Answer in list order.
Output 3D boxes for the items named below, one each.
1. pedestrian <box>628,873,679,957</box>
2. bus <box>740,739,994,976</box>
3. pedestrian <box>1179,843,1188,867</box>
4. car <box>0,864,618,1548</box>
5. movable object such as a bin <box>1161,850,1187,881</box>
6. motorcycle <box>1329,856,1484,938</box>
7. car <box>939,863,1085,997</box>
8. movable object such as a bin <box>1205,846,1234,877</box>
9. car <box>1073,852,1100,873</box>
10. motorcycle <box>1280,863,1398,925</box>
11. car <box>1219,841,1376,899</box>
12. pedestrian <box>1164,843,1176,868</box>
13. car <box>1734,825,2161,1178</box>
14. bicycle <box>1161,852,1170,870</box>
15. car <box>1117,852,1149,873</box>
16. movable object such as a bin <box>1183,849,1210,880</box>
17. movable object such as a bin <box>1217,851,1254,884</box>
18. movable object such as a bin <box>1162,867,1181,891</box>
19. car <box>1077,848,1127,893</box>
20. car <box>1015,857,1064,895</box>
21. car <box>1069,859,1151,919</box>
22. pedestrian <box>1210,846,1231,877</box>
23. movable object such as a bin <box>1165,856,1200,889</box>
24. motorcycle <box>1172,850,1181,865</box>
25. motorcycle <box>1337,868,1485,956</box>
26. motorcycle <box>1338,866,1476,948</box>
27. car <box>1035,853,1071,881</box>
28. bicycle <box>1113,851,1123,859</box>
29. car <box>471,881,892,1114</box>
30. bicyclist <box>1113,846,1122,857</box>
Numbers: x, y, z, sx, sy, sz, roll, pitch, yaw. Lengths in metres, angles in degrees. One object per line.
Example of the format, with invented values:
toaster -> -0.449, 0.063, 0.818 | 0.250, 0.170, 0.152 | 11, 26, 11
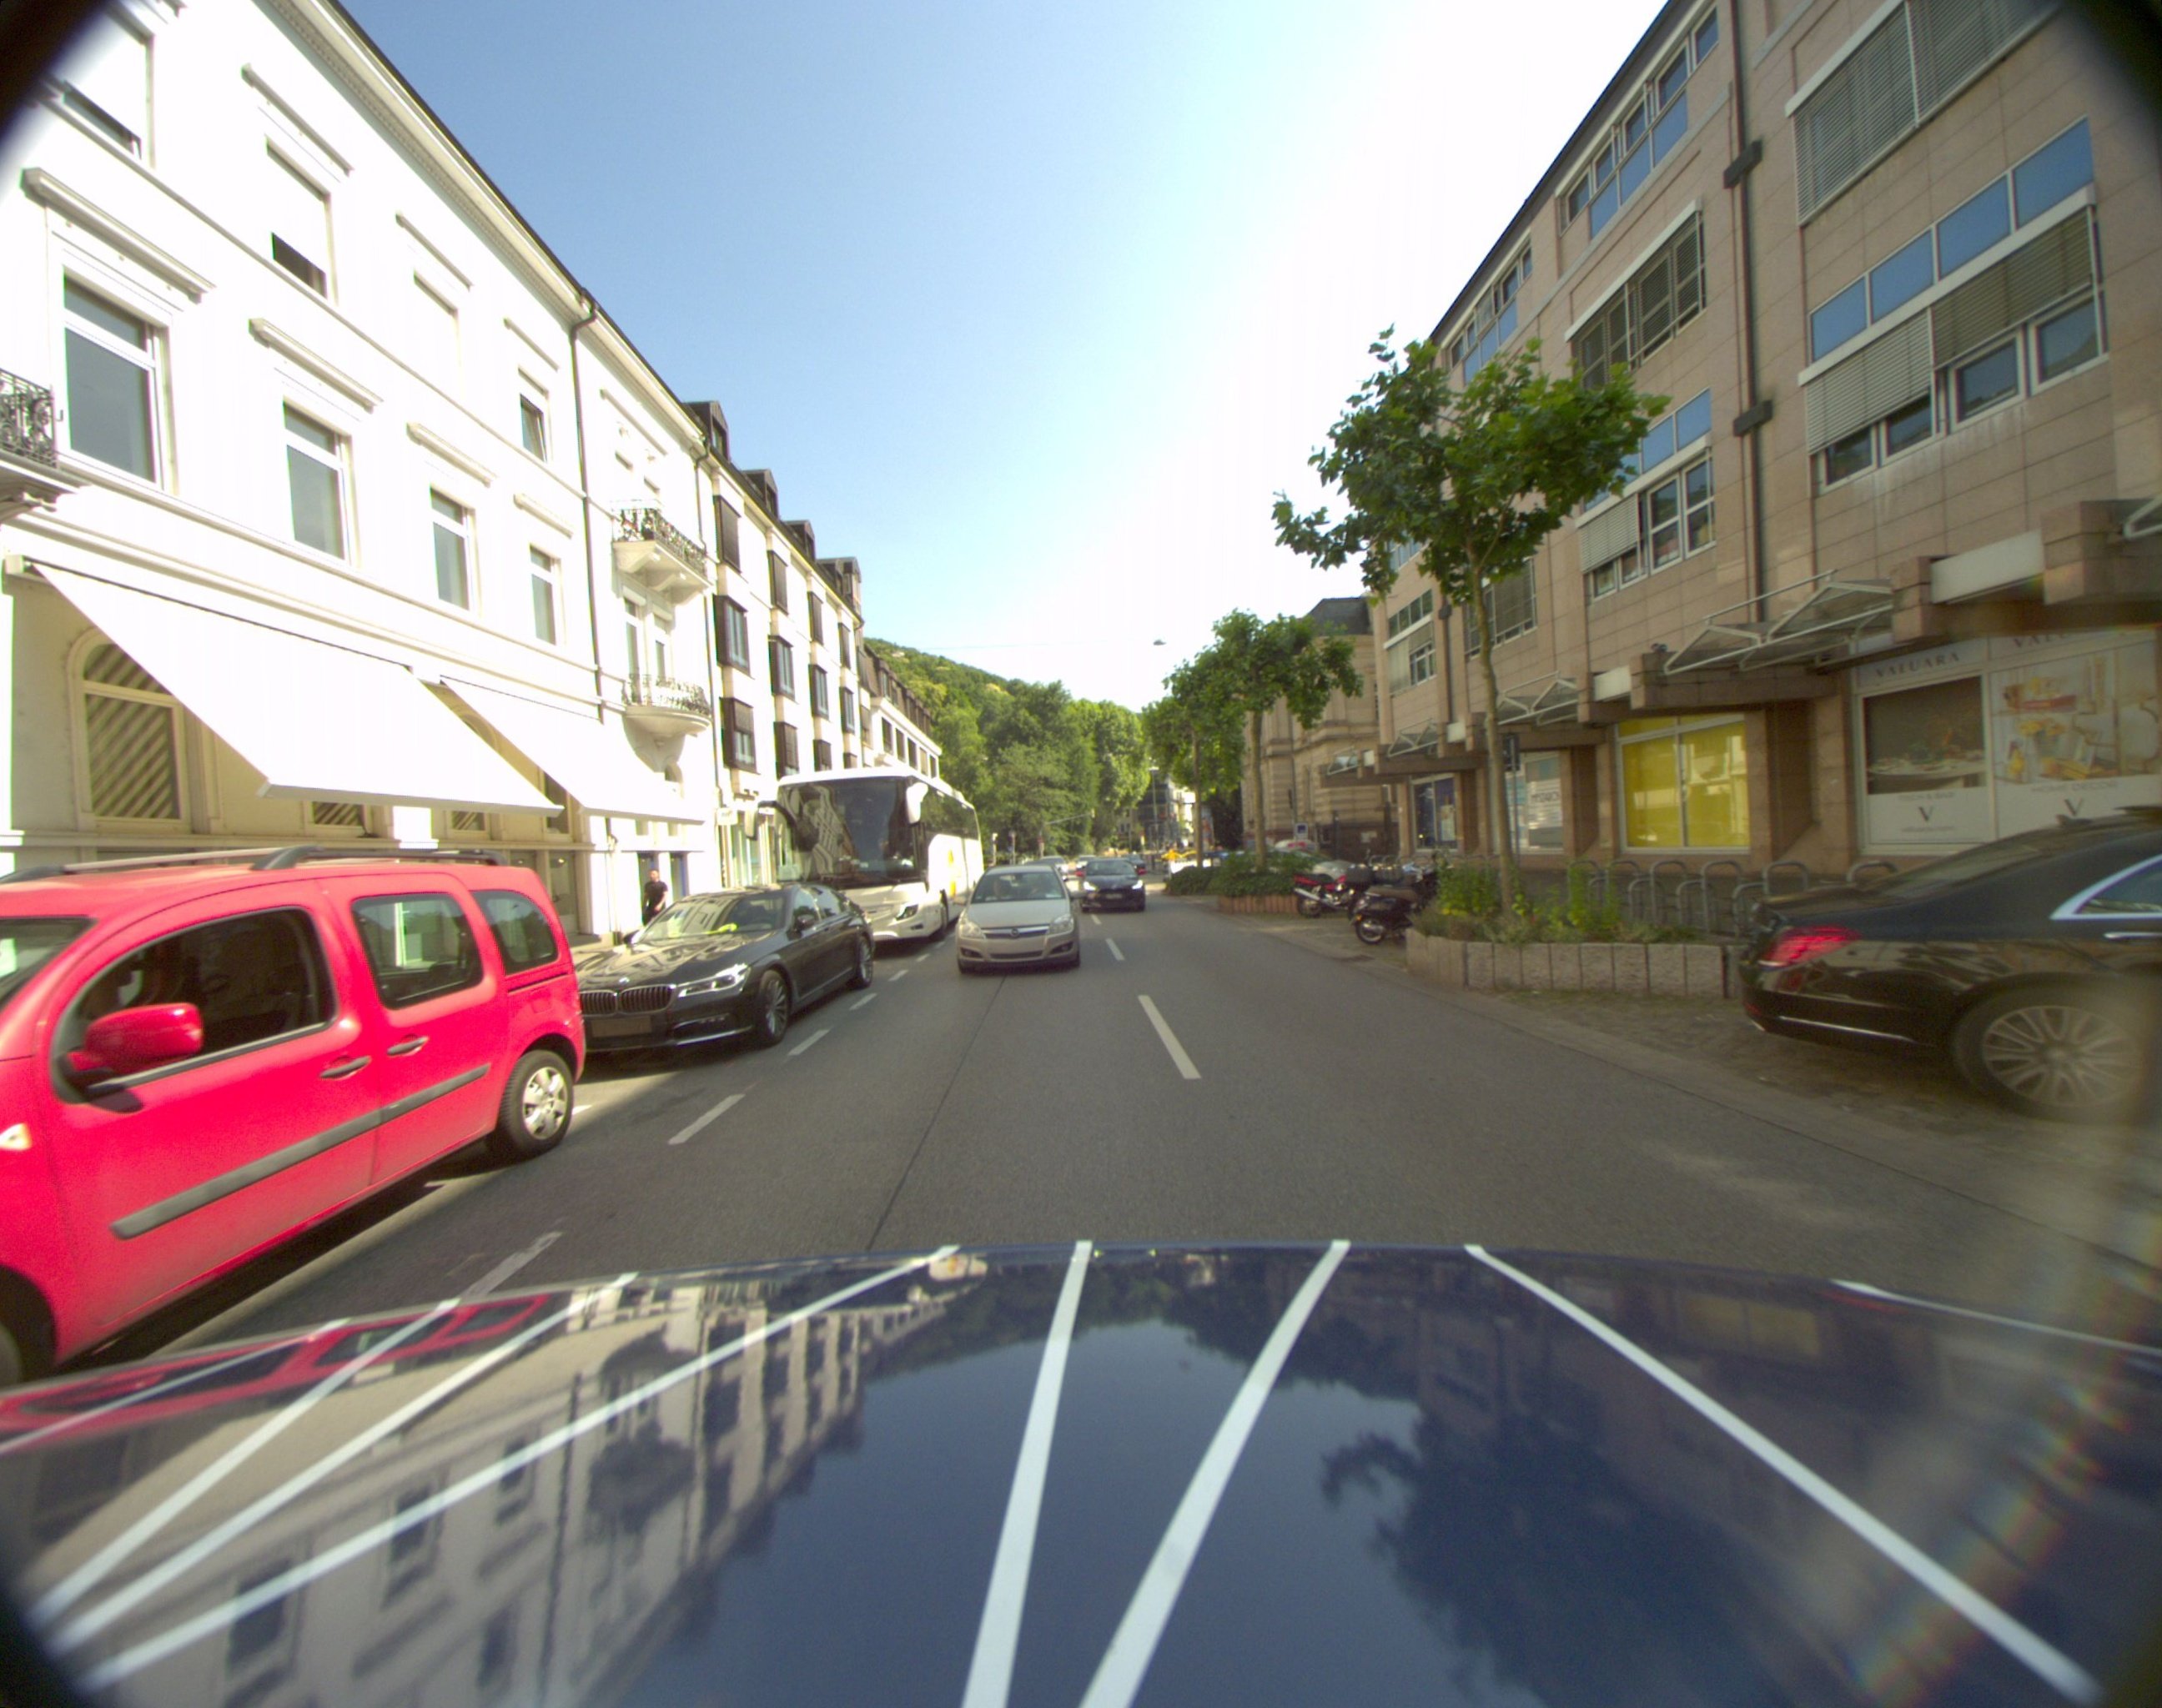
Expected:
pedestrian -> -9.125, 1.280, 16.240 | 0.568, 1.721, 0.769 | -3, 1, -1
bus -> -4.273, 0.033, 18.895 | 2.889, 3.720, 12.422 | -5, 0, -2
pedestrian -> 7.201, 0.049, 53.469 | 0.550, 1.656, 0.937 | -3, 2, 7
car -> -4.011, 1.053, 2.994 | 1.832, 1.852, 4.352 | -5, 0, -5
movable object such as a bin -> 4.676, 0.596, 38.479 | 1.126, 1.442, 1.439 | -5, 0, 5
motorcycle -> 5.723, 0.751, 13.551 | 2.348, 1.260, 1.295 | -4, 0, 19
car -> -0.866, 1.002, 11.909 | 1.711, 1.513, 4.406 | -4, 0, 1
movable object such as a bin -> 6.950, 0.382, 38.177 | 1.211, 1.442, 1.364 | -5, 0, 5
car -> 0.433, 0.628, 58.370 | 1.941, 1.420, 4.549 | -3, 0, 1
motorcycle -> 5.419, 0.843, 15.958 | 2.174, 1.163, 0.922 | -4, 0, 27
car -> 6.538, 0.511, 23.143 | 4.048, 1.486, 1.939 | -4, 0, 40
pedestrian -> 6.299, 0.118, 54.022 | 0.696, 1.686, 0.690 | -3, 2, 1
car -> 6.242, 0.611, 3.558 | 4.745, 1.524, 1.994 | -4, 0, 41
bicycle -> 5.966, 0.491, 53.575 | 0.430, 1.114, 2.244 | -5, 2, 10
car -> 3.696, 0.613, 54.558 | 1.941, 1.346, 4.249 | -3, 0, 0
movable object such as a bin -> 5.804, 0.537, 38.393 | 1.126, 1.442, 1.439 | -5, 0, 5
movable object such as a bin -> 6.490, 0.571, 31.965 | 1.212, 1.292, 1.080 | -5, 0, -1
movable object such as a bin -> 3.595, 0.987, 30.212 | 0.556, 0.934, 0.499 | -2, 0, -27
car -> 0.815, 0.654, 32.001 | 1.890, 1.674, 4.141 | -3, 0, -1
car -> -1.893, 0.907, 33.528 | 1.849, 1.421, 4.209 | -3, 1, -6
car -> 0.716, 0.892, 21.271 | 1.811, 1.443, 3.952 | -2, 0, -4
pedestrian -> 7.898, 0.425, 42.971 | 0.891, 1.715, 0.748 | -4, 1, -8
movable object such as a bin -> 4.227, 0.771, 31.752 | 1.280, 1.292, 0.853 | -4, 1, -1
motorcycle -> 6.724, 0.226, 53.508 | 0.454, 0.992, 2.161 | -5, 1, 8
motorcycle -> 4.890, 0.865, 11.388 | 1.912, 1.163, 0.761 | -4, 0, 19
motorcycle -> 5.137, 0.837, 12.098 | 1.912, 1.163, 0.729 | -4, 0, 19
car -> -1.650, 0.740, 45.459 | 1.941, 1.421, 4.341 | -3, 1, -1
bicycle -> 5.769, 0.198, 118.127 | 0.782, 1.114, 1.680 | -4, 0, 27
car -> -3.762, 1.210, 8.539 | 1.864, 1.461, 5.225 | -5, 0, 0
bicyclist -> 5.658, -0.358, 117.914 | 0.866, 1.566, 0.945 | -2, 3, 28
